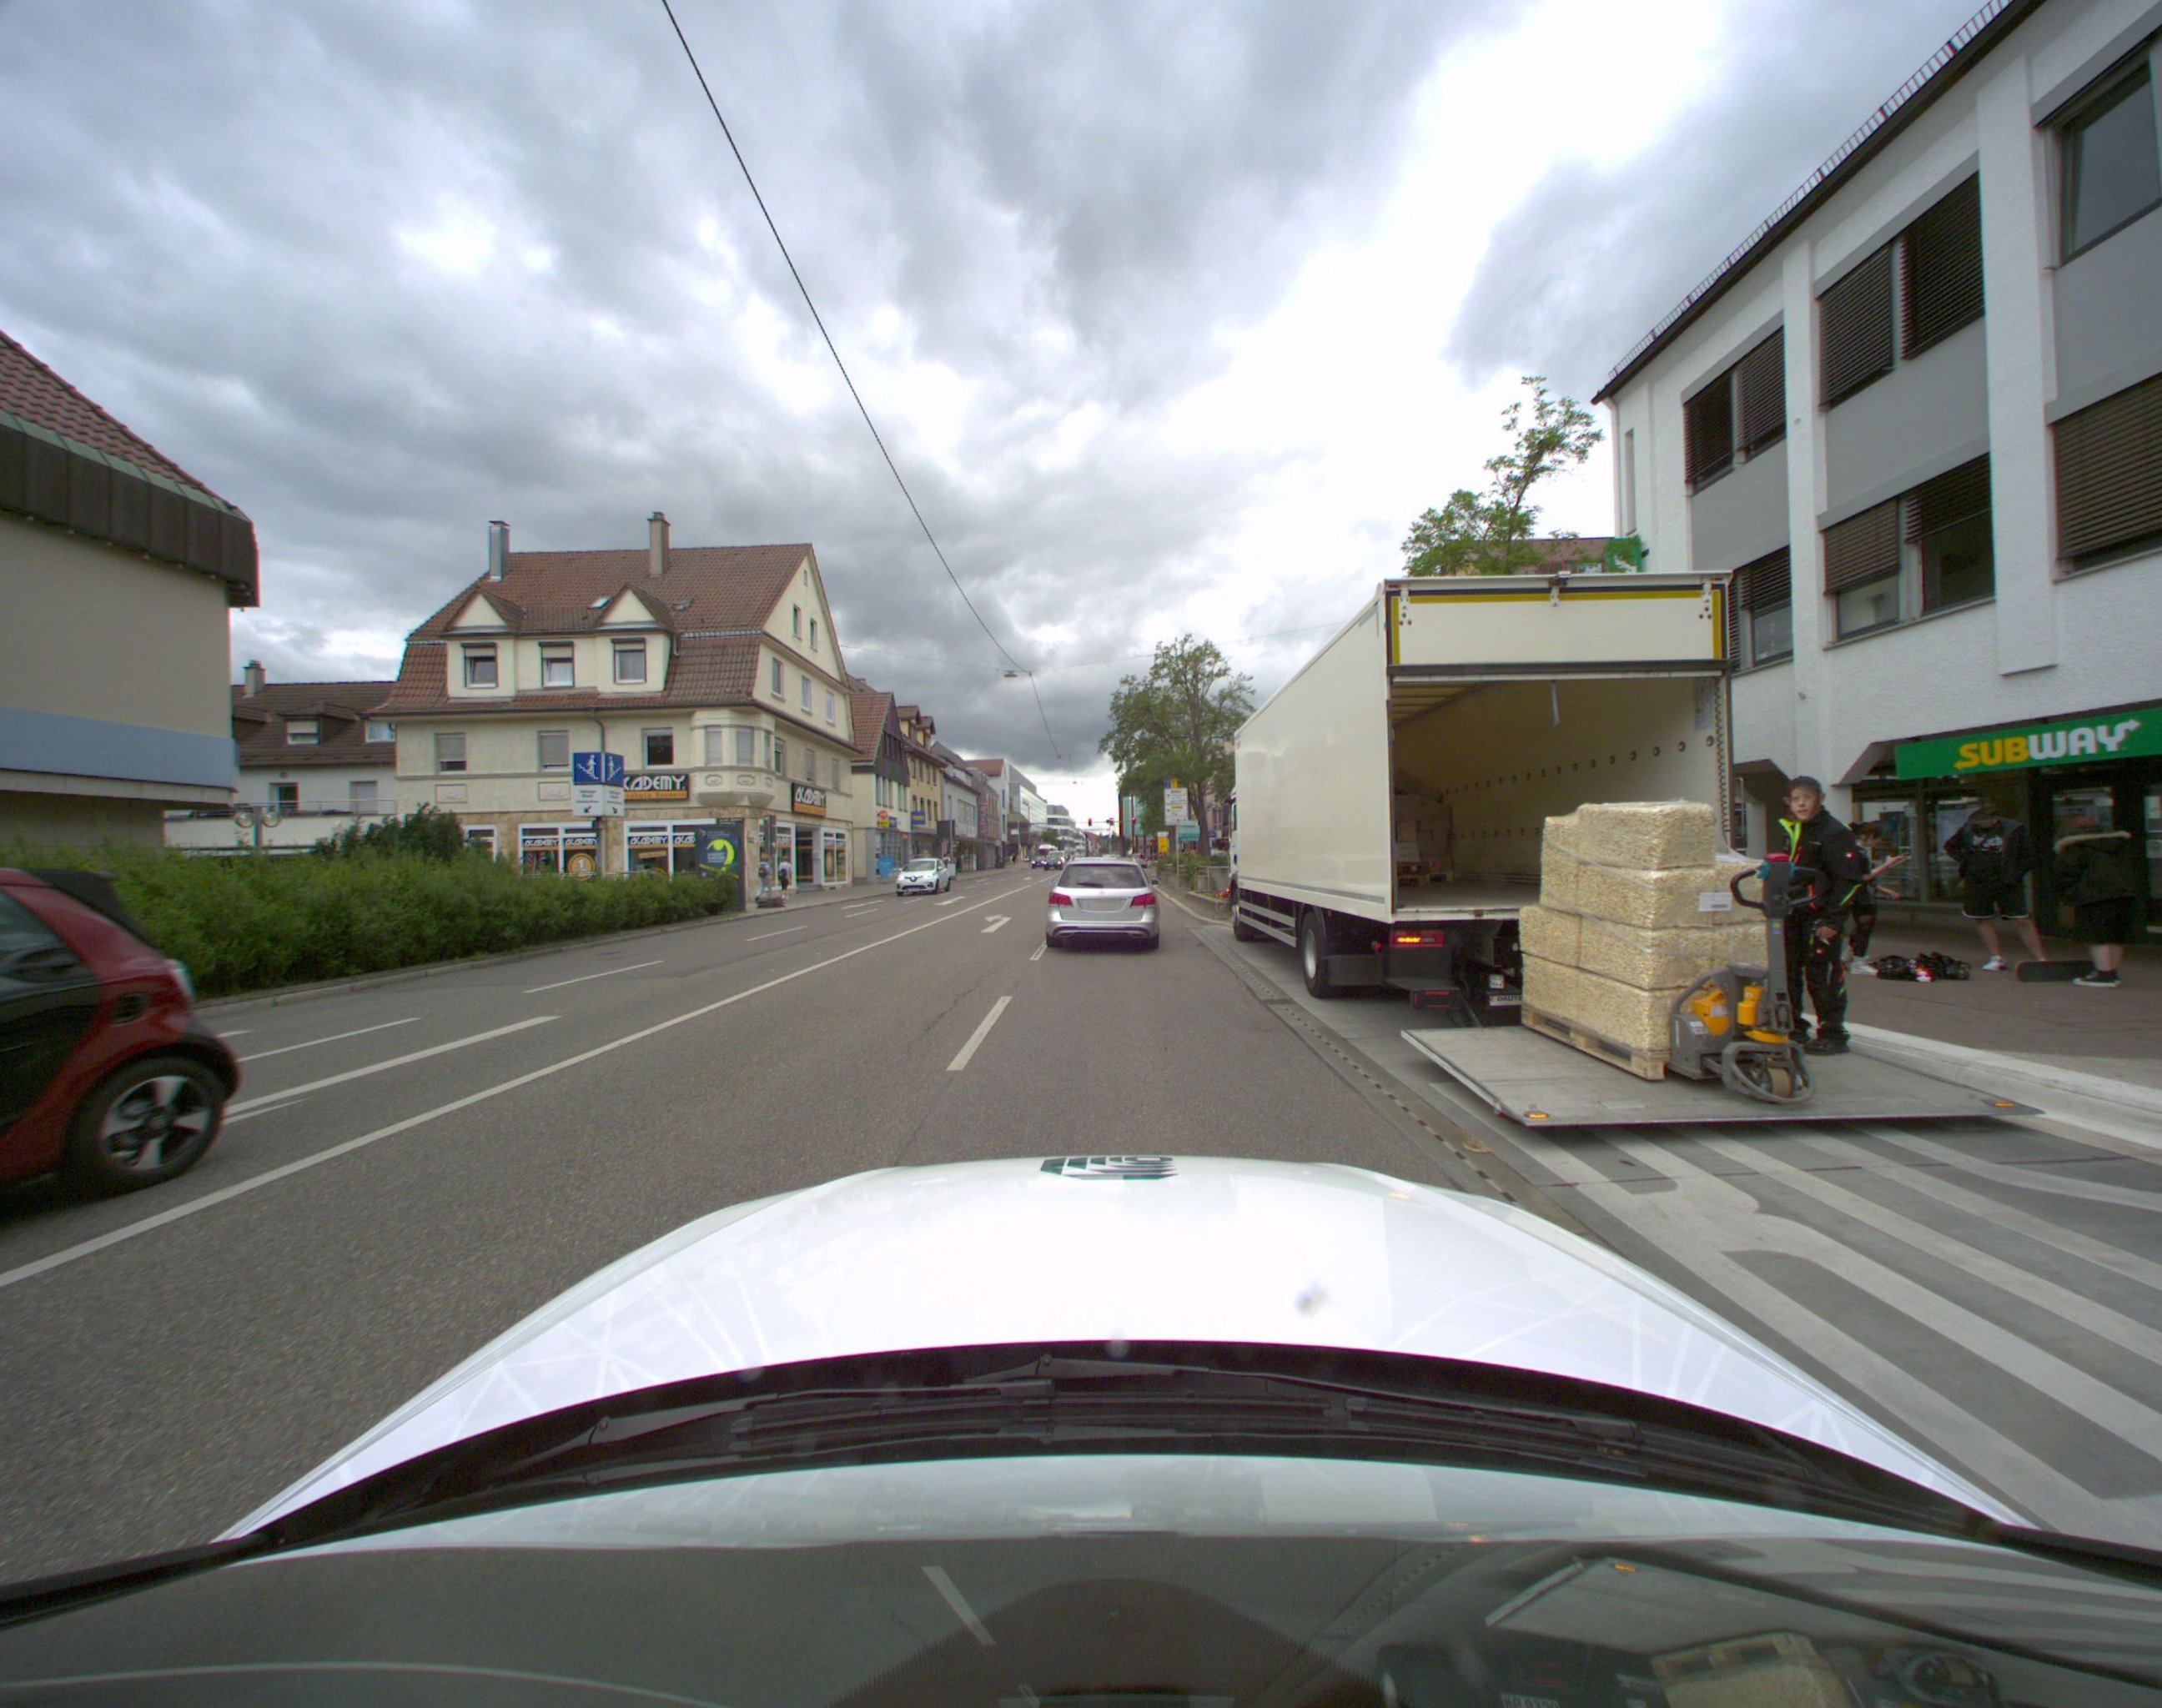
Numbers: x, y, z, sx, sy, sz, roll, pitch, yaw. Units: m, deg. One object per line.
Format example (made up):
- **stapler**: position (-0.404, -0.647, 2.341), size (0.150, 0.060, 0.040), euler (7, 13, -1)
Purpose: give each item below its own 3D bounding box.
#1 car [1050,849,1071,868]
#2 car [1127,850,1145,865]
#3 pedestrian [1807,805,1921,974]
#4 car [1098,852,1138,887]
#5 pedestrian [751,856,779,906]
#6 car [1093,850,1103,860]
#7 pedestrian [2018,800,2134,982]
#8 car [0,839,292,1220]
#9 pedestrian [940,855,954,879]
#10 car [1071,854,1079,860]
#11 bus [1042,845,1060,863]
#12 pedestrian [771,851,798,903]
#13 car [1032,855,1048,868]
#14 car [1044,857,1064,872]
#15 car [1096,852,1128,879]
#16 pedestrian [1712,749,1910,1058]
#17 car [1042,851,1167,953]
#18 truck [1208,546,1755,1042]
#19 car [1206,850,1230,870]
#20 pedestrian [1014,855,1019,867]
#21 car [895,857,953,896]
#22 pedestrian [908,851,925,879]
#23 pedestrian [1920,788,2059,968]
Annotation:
- **car**: position (-2.298, 0.532, 91.341), size (1.954, 1.960, 5.142), euler (-3, 0, 2)
- **car**: position (6.373, 0.392, 95.199), size (1.986, 1.684, 4.002), euler (-1, 0, 2)
- **pedestrian**: position (8.376, 0.368, 8.732), size (0.611, 1.740, 0.588), euler (2, 0, 1)
- **car**: position (1.755, 0.720, 38.662), size (1.748, 1.521, 4.002), euler (-2, -1, 2)
- **pedestrian**: position (-11.370, 0.964, 29.288), size (0.685, 1.761, 0.681), euler (-2, 0, 1)
- **car**: position (3.446, 0.135, 165.471), size (1.986, 2.013, 4.002), euler (-1, 0, 2)
- **pedestrian**: position (9.298, 0.335, 7.633), size (0.618, 1.611, 0.581), euler (0, -2, -43)
- **car**: position (-5.171, 0.740, 3.011), size (1.565, 1.540, 2.960), euler (-2, 0, 0)
- **pedestrian**: position (-9.369, 0.881, 56.967), size (0.815, 1.634, 0.979), euler (1, 0, -4)
- **car**: position (-1.447, 0.694, 185.857), size (1.568, 1.244, 3.609), euler (-1, 0, 2)
- **bus**: position (-5.610, -0.043, 152.342), size (2.764, 3.165, 5.936), euler (-1, 0, 2)
- **pedestrian**: position (-10.587, 0.813, 29.077), size (0.631, 1.824, 0.681), euler (-2, 0, 1)
- **car**: position (-5.046, 0.925, 99.986), size (1.611, 1.523, 3.509), euler (-2, 0, 2)
- **car**: position (-2.697, 1.000, 81.078), size (1.610, 1.428, 3.925), euler (-2, 0, 3)
- **car**: position (2.083, 0.705, 54.029), size (1.986, 1.684, 4.002), euler (-1, 0, 2)
- **pedestrian**: position (4.475, 0.286, 5.034), size (0.611, 1.780, 0.587), euler (-2, -2, -2)
- **car**: position (0.363, 0.735, 14.230), size (1.868, 1.506, 3.999), euler (-1, 0, 0)
- **truck**: position (3.681, -0.442, 10.836), size (2.678, 3.561, 9.770), euler (-1, 0, 2)
- **car**: position (13.373, 0.580, 79.722), size (1.859, 1.864, 4.003), euler (-1, 0, 3)
- **pedestrian**: position (-8.658, 0.914, 109.398), size (0.584, 1.634, 0.615), euler (2, 0, 0)
- **car**: position (-6.760, 0.938, 35.405), size (1.634, 1.568, 3.927), euler (-1, -1, 1)
- **pedestrian**: position (-10.553, 0.692, 52.320), size (0.865, 1.746, 0.805), euler (2, 0, -3)
- **pedestrian**: position (9.706, 0.249, 8.721), size (0.615, 1.819, 0.761), euler (-1, -2, -22)
